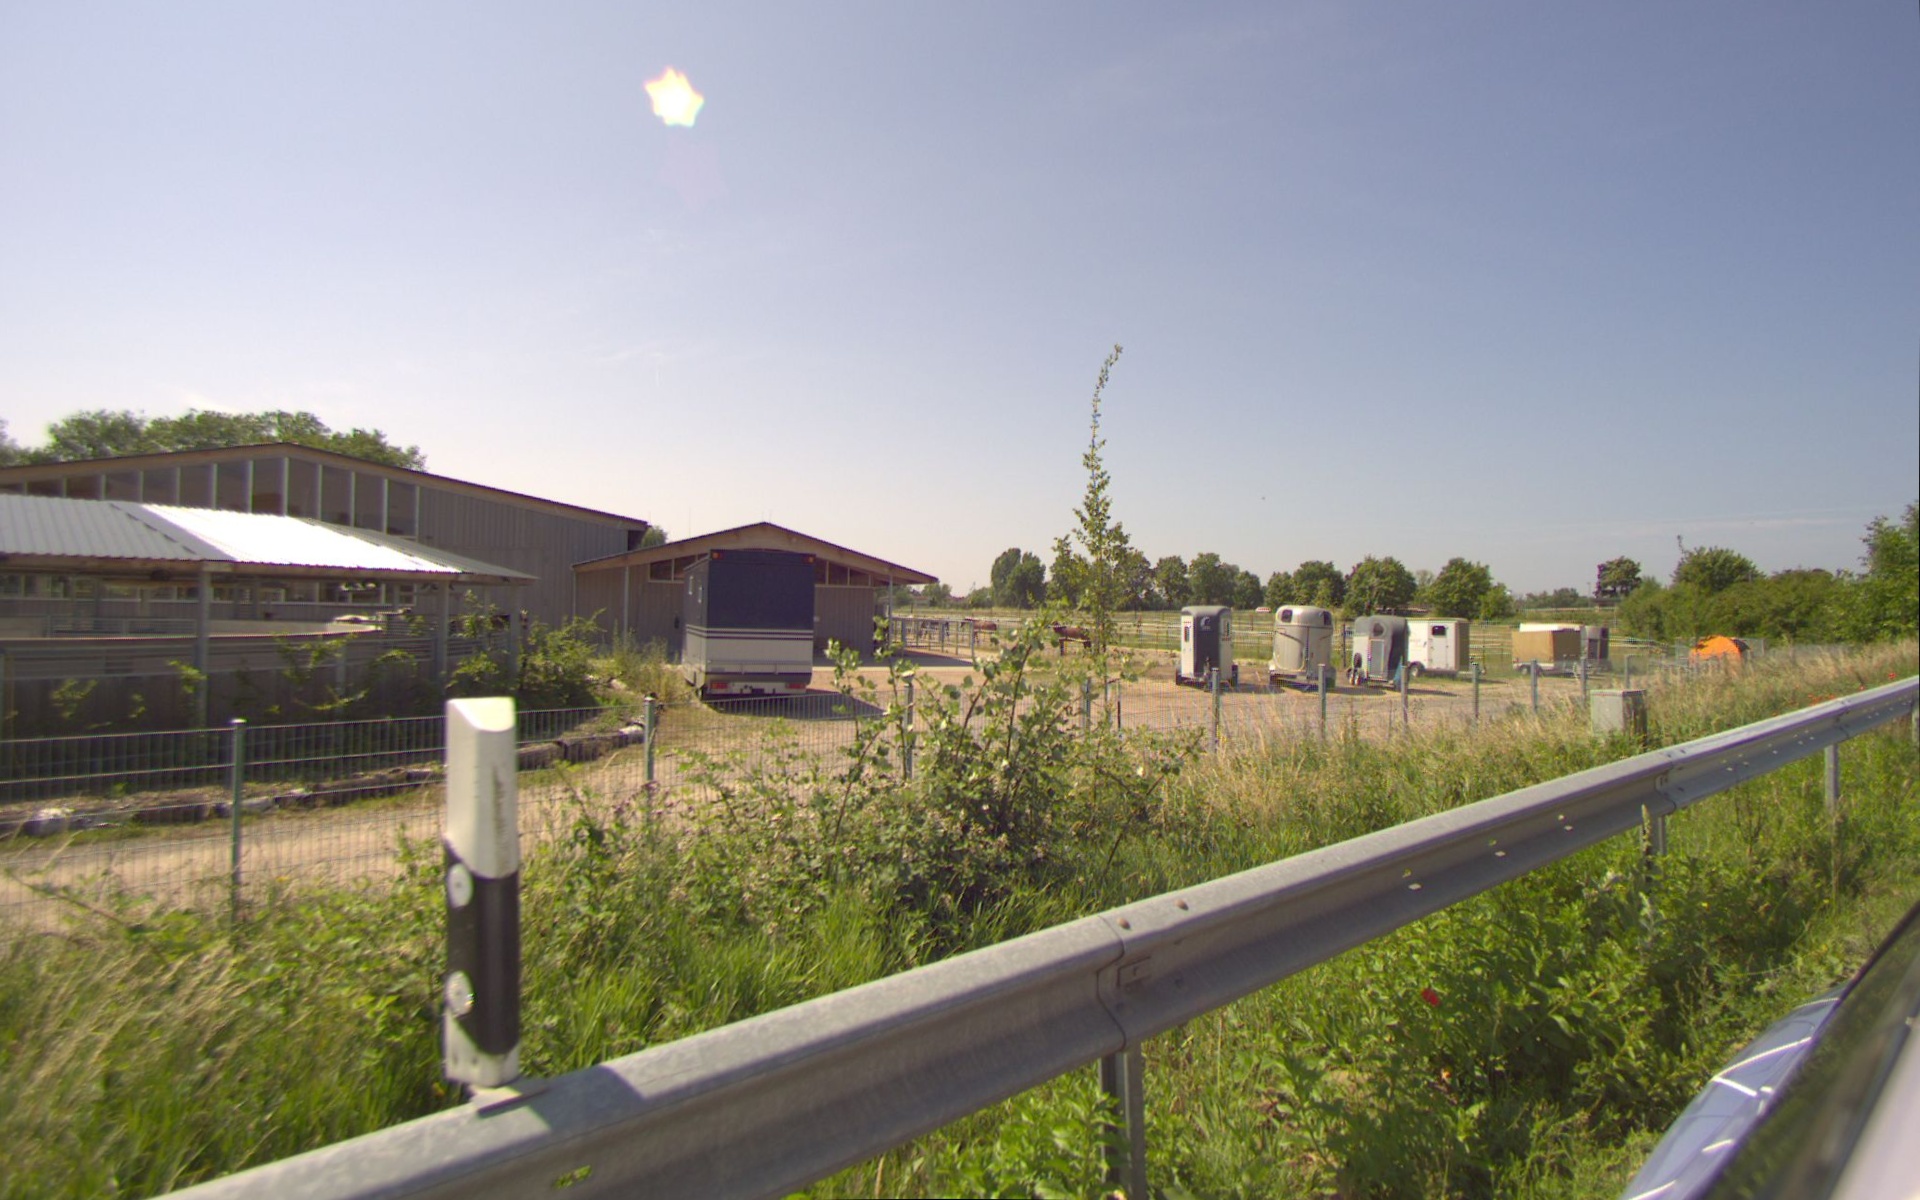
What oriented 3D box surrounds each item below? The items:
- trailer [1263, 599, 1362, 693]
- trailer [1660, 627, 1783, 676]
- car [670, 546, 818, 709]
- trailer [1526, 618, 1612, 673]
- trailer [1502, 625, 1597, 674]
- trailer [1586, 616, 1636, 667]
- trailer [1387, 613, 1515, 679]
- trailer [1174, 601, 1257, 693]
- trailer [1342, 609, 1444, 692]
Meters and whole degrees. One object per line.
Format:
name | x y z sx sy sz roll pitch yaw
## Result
trailer | 12.007 1.473 34.823 2.197 2.901 5.033 1 0 8
trailer | 41.402 2.728 55.033 5.924 2.410 2.586 0 0 -21
car | -6.163 0.666 27.591 2.721 3.699 9.014 1 -1 -20
trailer | 33.059 2.419 55.043 2.119 2.841 3.427 0 -1 -19
trailer | 30.328 2.546 52.209 1.965 2.422 4.098 0 -2 -10
trailer | 37.787 2.423 58.800 1.980 2.842 3.346 0 -3 26
trailer | 21.810 1.983 45.231 2.162 2.722 5.199 1 -1 -17
trailer | 8.471 1.461 33.957 2.139 2.703 4.472 1 1 8
trailer | 15.426 1.722 36.306 1.793 2.662 4.547 4 0 4
